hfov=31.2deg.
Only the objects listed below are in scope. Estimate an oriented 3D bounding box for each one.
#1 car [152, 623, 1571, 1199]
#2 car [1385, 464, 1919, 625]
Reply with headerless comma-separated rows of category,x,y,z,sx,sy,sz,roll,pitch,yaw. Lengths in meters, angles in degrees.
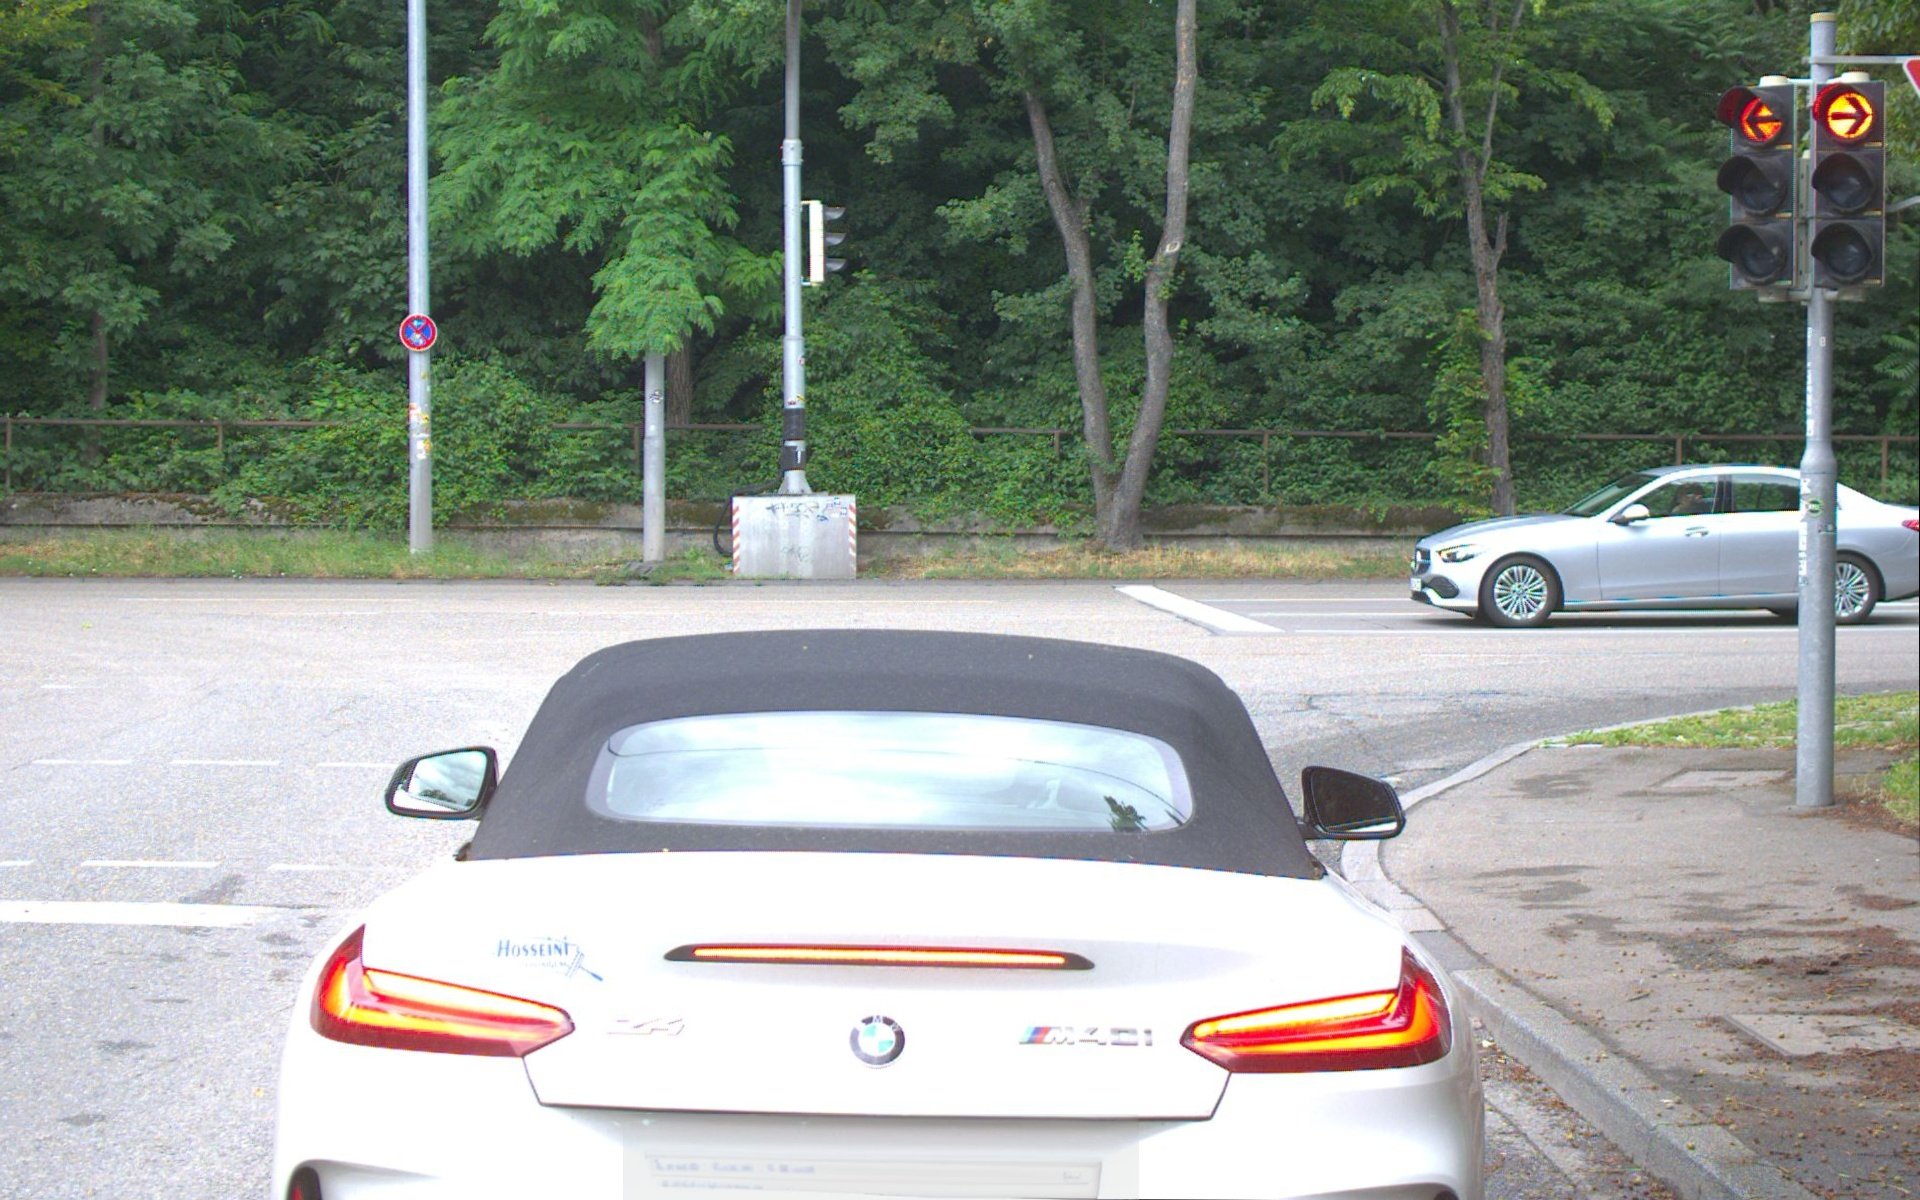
car,-0.220,0.698,6.469,1.827,1.253,4.000,2,0,-3
car,6.355,-0.520,31.043,4.751,1.329,1.834,1,3,-2
